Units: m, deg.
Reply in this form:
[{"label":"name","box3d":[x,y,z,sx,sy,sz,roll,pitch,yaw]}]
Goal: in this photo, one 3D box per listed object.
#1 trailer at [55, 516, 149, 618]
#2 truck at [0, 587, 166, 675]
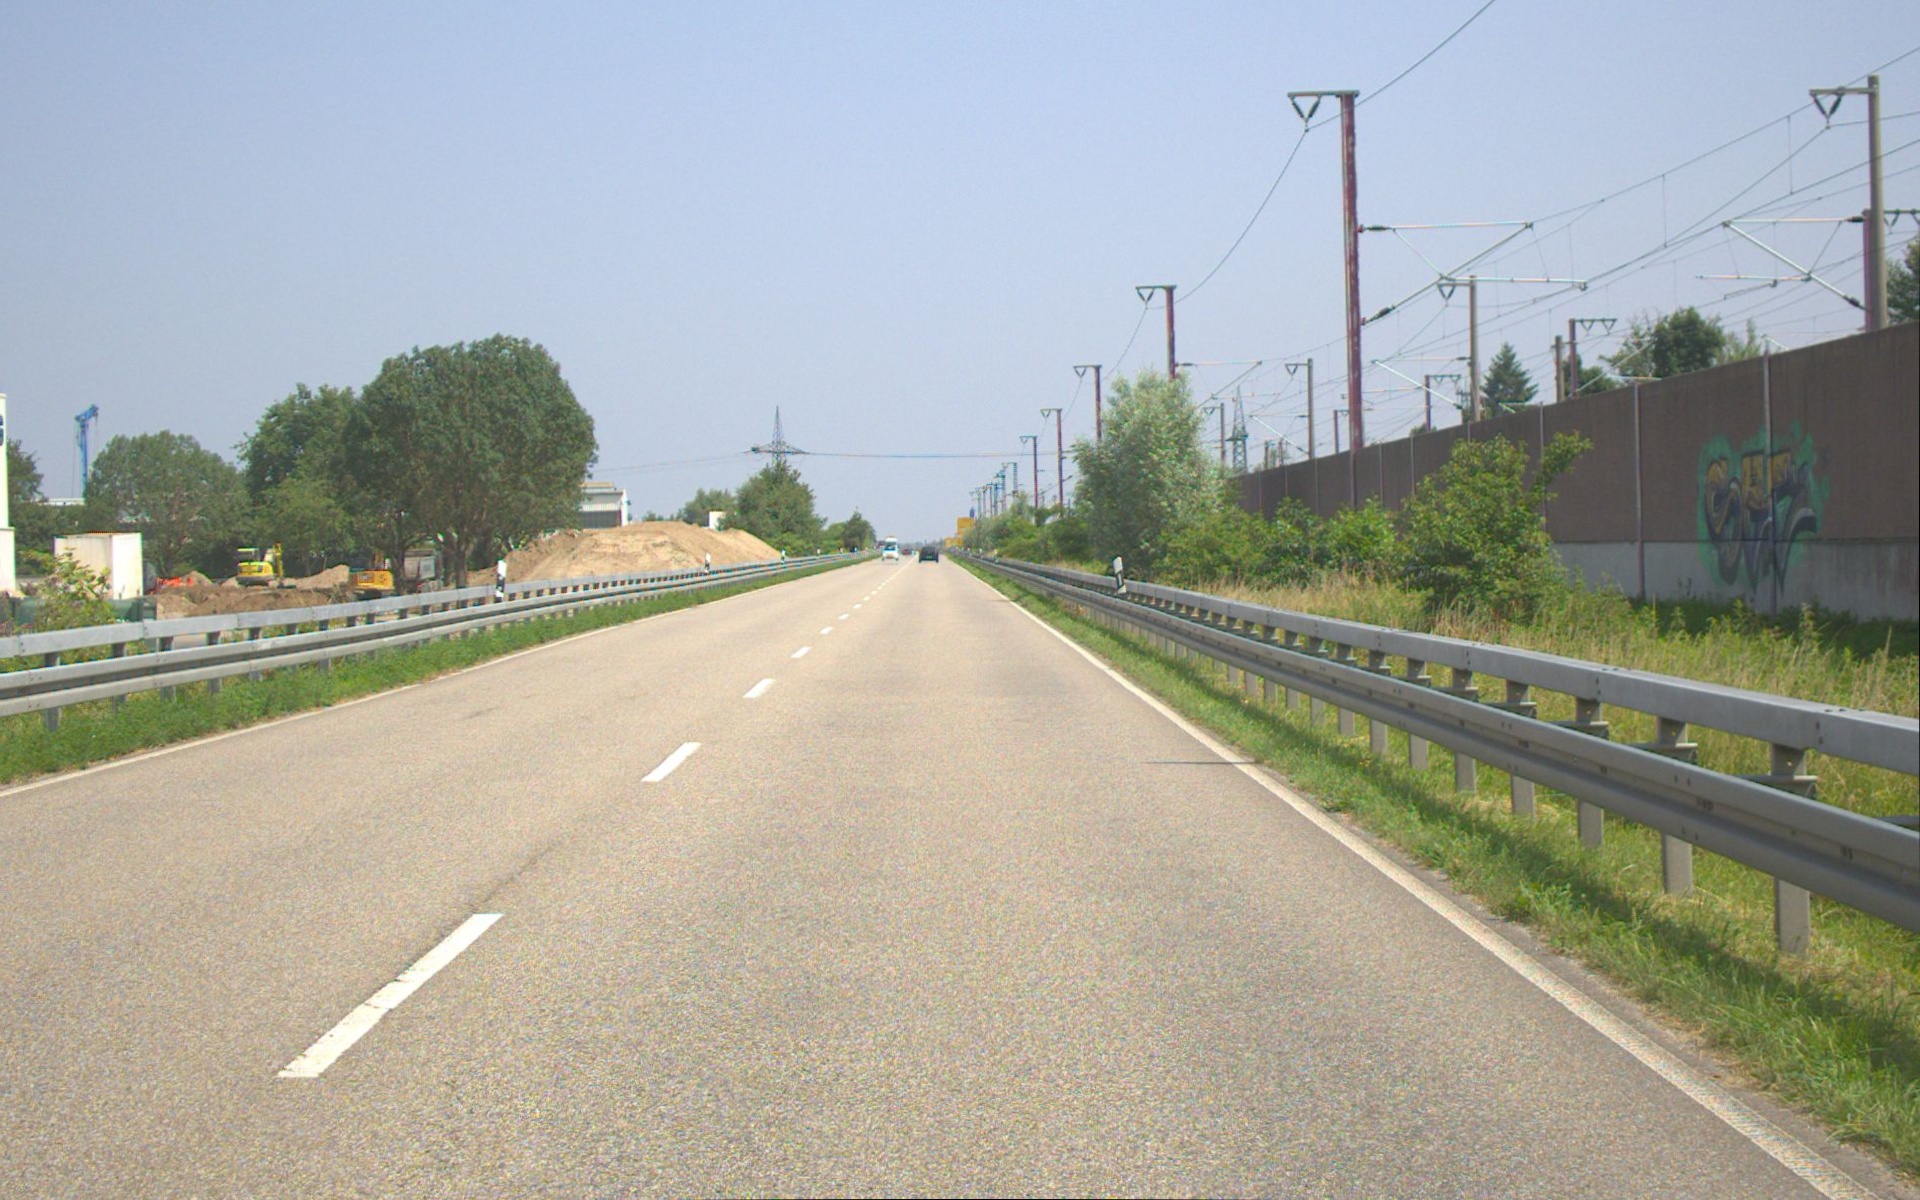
[{"label":"trailer","box3d":[-37.630,-1.489,150.997,2.678,4.317,7.954,0,2,-5]},{"label":"truck","box3d":[-24.553,0.839,94.278,5.008,2.325,2.233,0,1,0]}]
